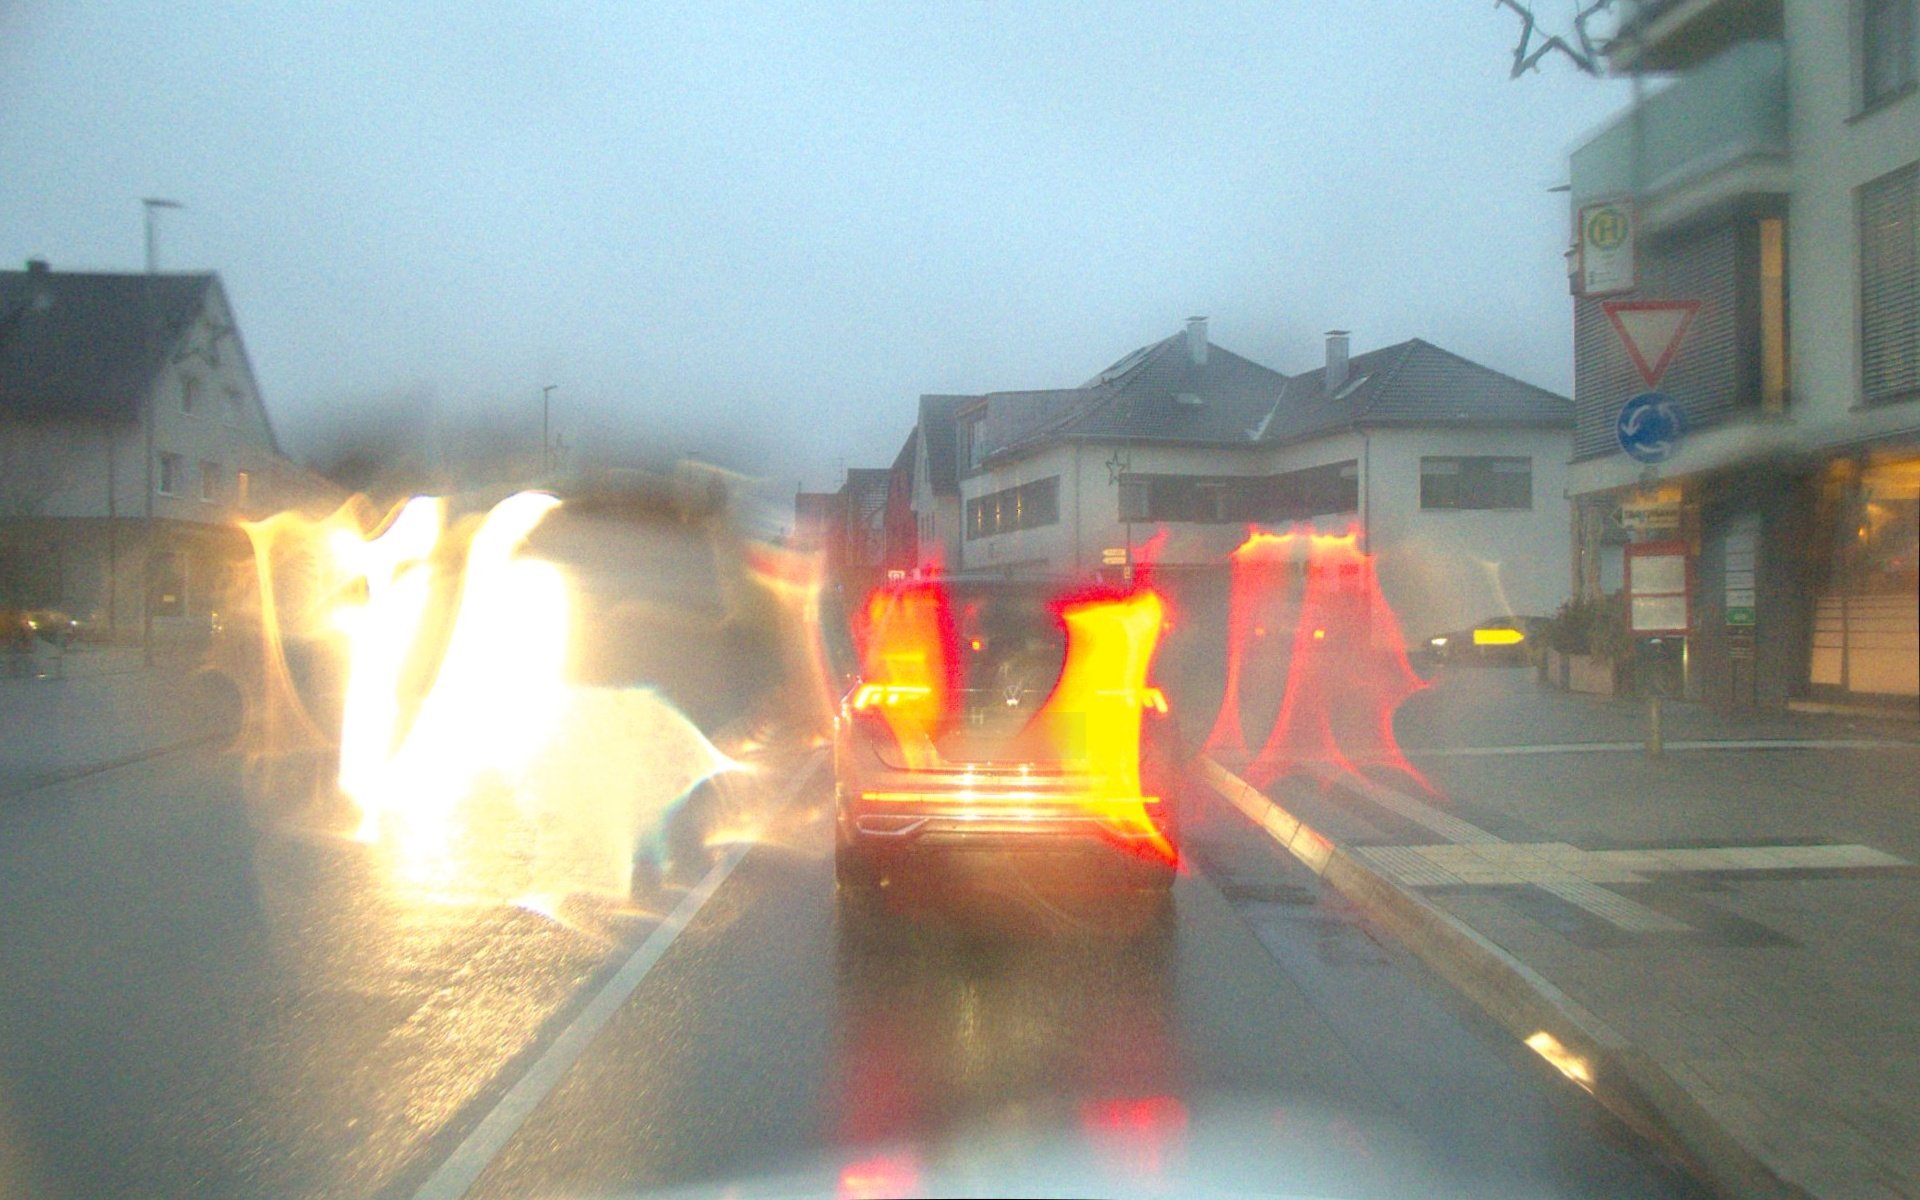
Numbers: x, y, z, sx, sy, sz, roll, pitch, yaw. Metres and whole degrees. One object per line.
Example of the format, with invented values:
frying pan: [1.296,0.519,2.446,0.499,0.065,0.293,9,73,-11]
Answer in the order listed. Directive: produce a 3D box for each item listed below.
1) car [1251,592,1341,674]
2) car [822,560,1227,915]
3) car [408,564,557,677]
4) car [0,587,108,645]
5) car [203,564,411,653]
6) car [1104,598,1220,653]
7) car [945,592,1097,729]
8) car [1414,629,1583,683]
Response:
car: [7.783,0.718,38.074,1.783,1.656,4.004,-2,1,14]
car: [0.214,0.641,9.689,1.877,1.643,3.948,1,0,-3]
car: [-8.468,0.341,29.108,1.699,1.844,4.098,1,0,-28]
car: [-24.515,0.431,43.060,3.747,1.447,1.716,0,-2,2]
car: [-15.831,0.193,40.054,4.788,2.049,1.998,0,0,27]
car: [5.676,0.695,46.923,1.622,1.491,3.975,1,0,-21]
car: [0.816,0.686,20.953,1.740,1.566,3.934,0,0,4]
car: [15.135,1.594,46.610,4.136,1.408,1.849,1,-3,-3]
